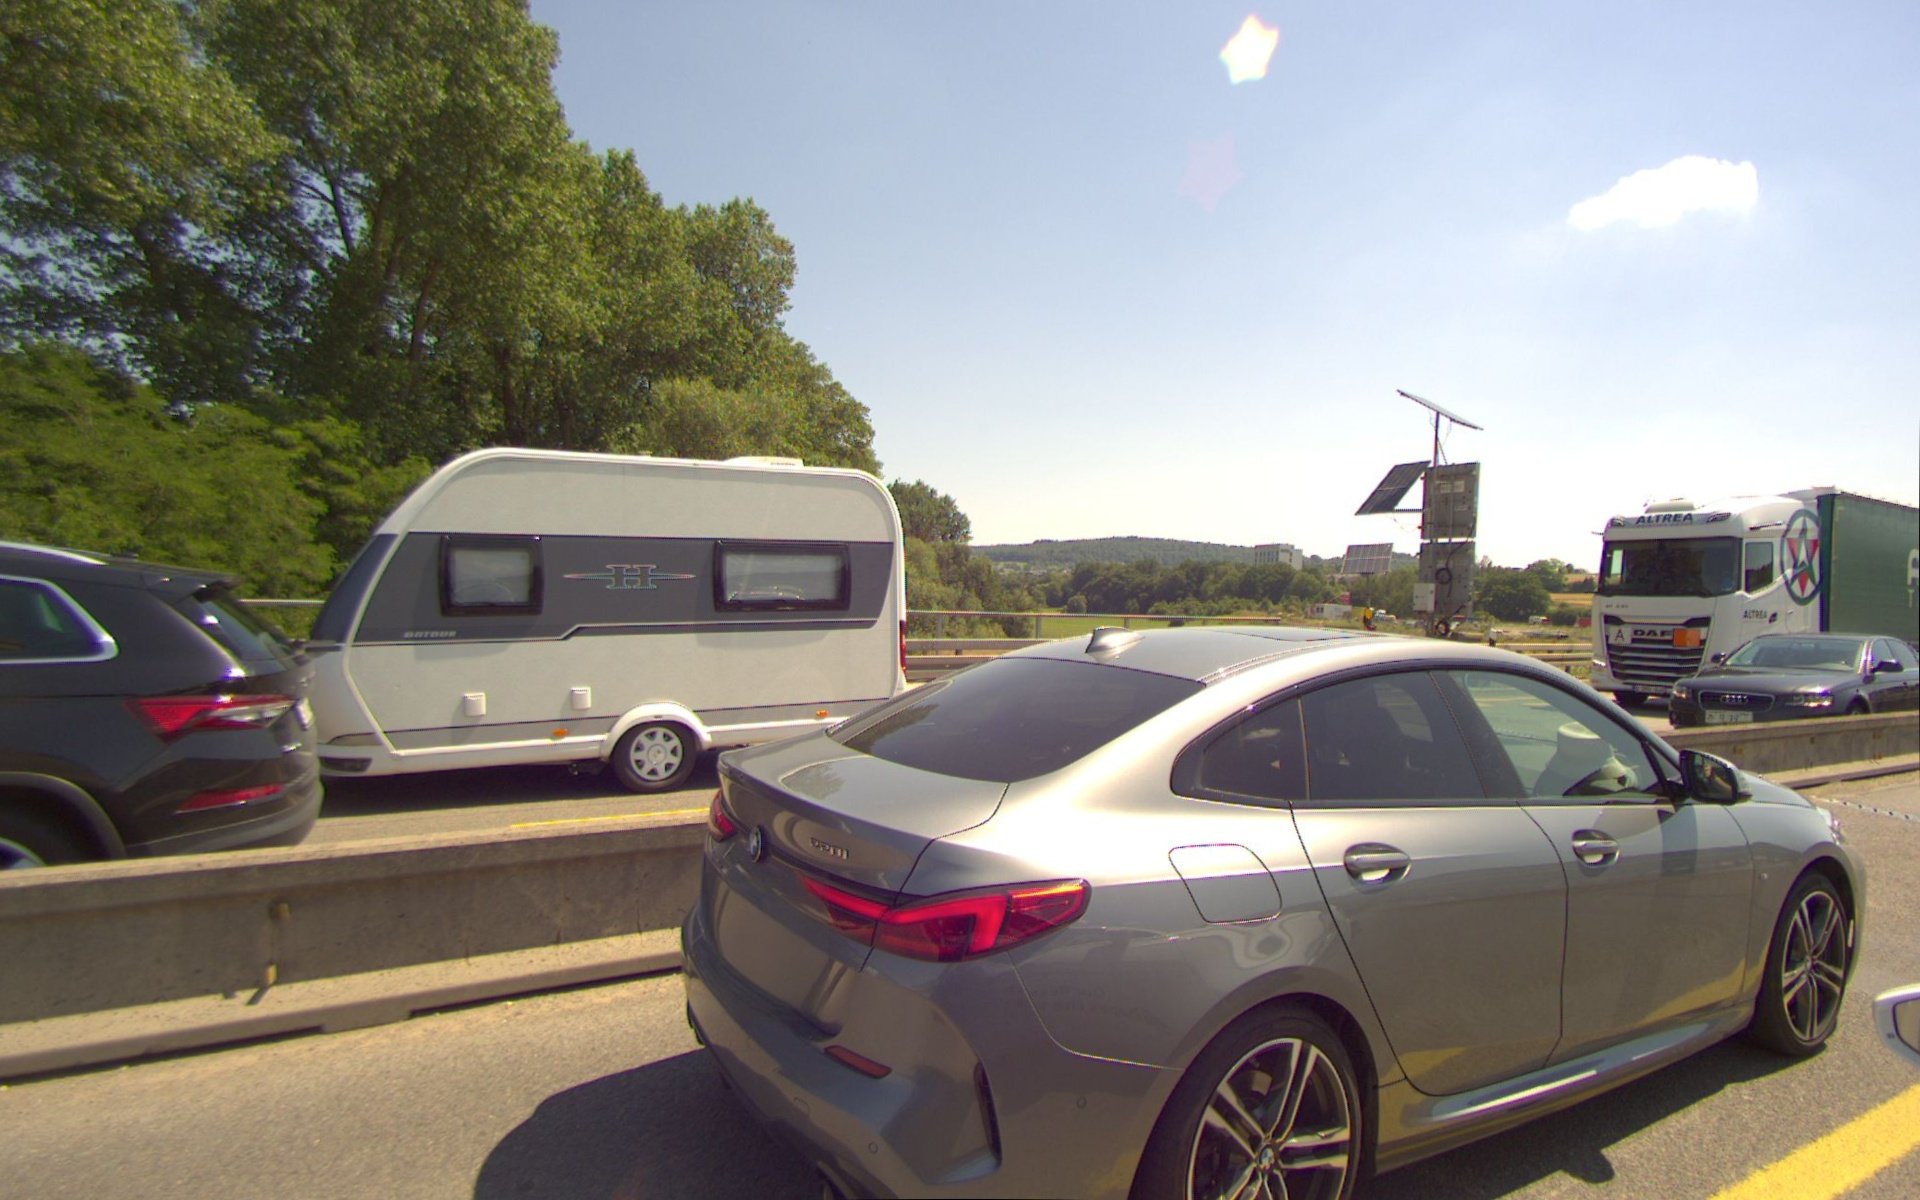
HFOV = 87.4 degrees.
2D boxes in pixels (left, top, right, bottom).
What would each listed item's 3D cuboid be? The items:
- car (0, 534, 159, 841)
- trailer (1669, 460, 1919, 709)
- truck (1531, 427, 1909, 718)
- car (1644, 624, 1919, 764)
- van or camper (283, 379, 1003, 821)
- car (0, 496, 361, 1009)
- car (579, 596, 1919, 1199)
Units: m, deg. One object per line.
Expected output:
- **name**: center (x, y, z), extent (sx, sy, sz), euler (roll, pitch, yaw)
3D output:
- **car**: center (-7.604, 0.457, 5.518), extent (4.734, 1.757, 1.759), euler (2, -1, -30)
- **trailer**: center (21.151, -0.126, 22.814), extent (12.863, 4.524, 3.088), euler (2, -1, -30)
- **truck**: center (14.375, -0.355, 18.903), extent (7.016, 4.597, 3.064), euler (2, 0, -29)
- **car**: center (10.951, 1.102, 12.875), extent (4.483, 1.439, 1.769), euler (2, 1, -30)
- **van or camper**: center (-2.497, 0.052, 8.584), extent (5.180, 2.734, 2.492), euler (2, 0, -29)
- **car**: center (-4.755, 0.448, 3.456), extent (4.565, 1.710, 1.838), euler (1, 2, -31)
- **car**: center (1.302, 0.780, 3.496), extent (4.686, 1.471, 1.843), euler (1, 0, -30)
